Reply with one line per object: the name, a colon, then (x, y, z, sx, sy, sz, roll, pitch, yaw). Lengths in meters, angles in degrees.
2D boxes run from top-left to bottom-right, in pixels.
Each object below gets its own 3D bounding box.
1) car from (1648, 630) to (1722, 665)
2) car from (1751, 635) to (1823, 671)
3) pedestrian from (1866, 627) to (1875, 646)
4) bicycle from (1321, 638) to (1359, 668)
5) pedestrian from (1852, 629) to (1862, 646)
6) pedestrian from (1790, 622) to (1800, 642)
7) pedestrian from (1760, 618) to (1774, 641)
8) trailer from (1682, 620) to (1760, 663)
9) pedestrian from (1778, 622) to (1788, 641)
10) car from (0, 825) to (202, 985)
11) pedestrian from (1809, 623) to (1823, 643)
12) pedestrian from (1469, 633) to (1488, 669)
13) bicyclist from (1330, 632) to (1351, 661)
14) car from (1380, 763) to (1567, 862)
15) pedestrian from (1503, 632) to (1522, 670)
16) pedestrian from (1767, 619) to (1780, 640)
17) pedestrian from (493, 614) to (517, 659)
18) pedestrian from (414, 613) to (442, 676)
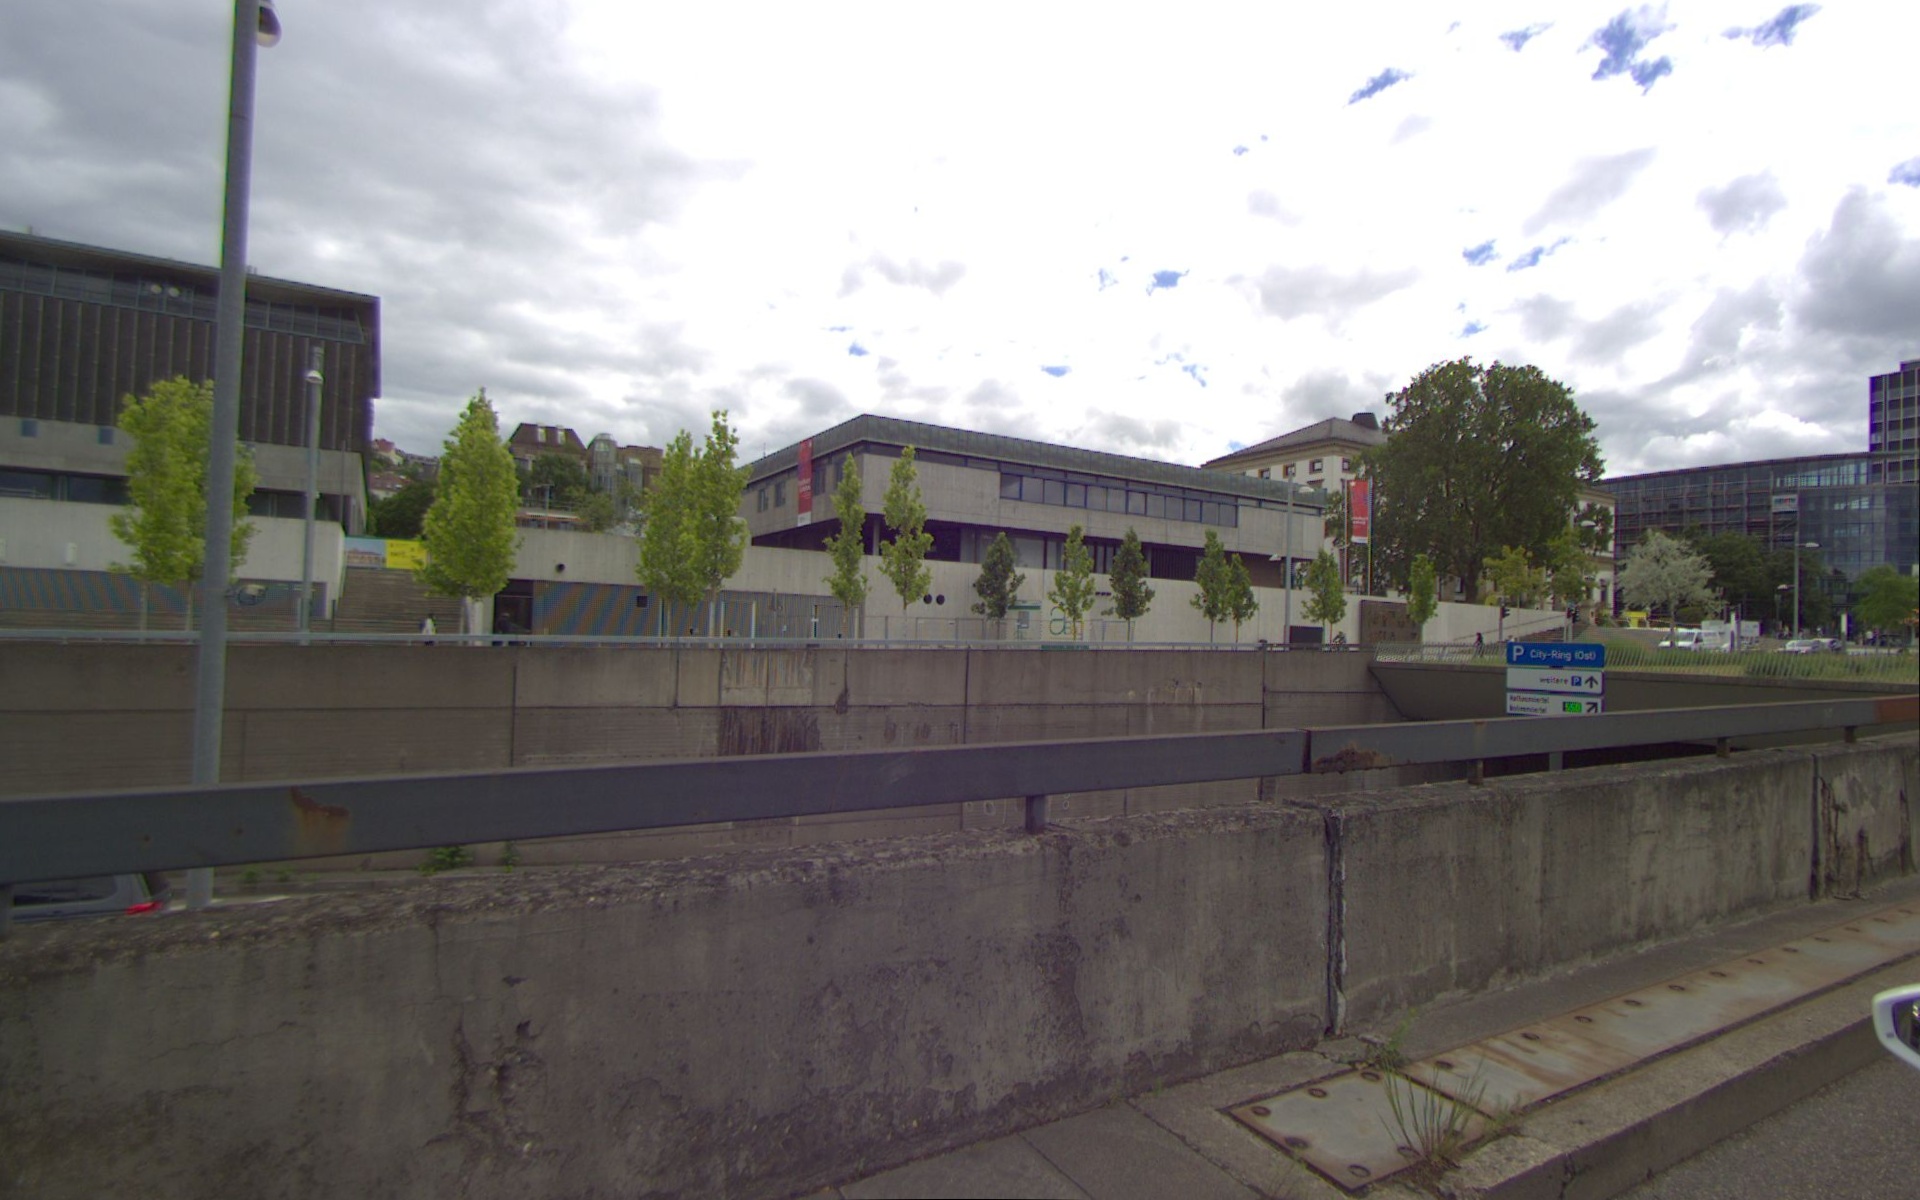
car: (44.651, 2.889, 61.827, 4.635, 2.040, 1.985, 0, 0, -30)
car: (51.417, 3.247, 62.431, 4.635, 2.040, 1.985, 0, 0, -30)
pedestrian: (102.636, 4.120, 113.258, 0.731, 2.040, 0.788, -1, -1, 45)
bicycle: (21.325, 2.966, 56.349, 2.165, 1.556, 0.722, 3, 0, -31)
pedestrian: (103.493, 4.326, 115.871, 0.729, 2.040, 0.790, -1, -1, 38)
pedestrian: (86.652, 3.322, 104.287, 0.729, 2.040, 0.917, -1, -1, 38)
pedestrian: (74.289, 2.719, 92.456, 0.783, 2.040, 0.736, 4, -2, -27)
trailer: (48.935, 2.631, 64.545, 5.443, 2.640, 2.028, 1, 1, -30)
pedestrian: (85.435, 3.257, 104.305, 0.729, 2.040, 0.917, -1, -1, 37)
car: (-13.849, 4.341, 14.425, 4.345, 1.789, 2.153, 6, -5, -30)
pedestrian: (88.988, 3.449, 104.437, 0.728, 2.040, 0.791, 0, -1, -12)
pedestrian: (30.129, 2.946, 58.344, 0.777, 2.040, 0.741, 0, 0, 9)
bicyclist: (21.365, 2.612, 56.357, 0.767, 1.574, 0.727, 3, 0, -31)
car: (16.763, 6.781, 32.709, 5.865, 2.341, 2.607, 3, 0, -30)
pedestrian: (29.710, 2.746, 54.024, 0.846, 2.040, 0.628, -1, -1, 26)
pedestrian: (78.257, 2.828, 96.657, 0.783, 2.040, 0.735, 0, -1, -29)
pedestrian: (-17.076, 1.362, 37.677, 0.783, 1.664, 0.736, 0, -1, -27)
pedestrian: (-17.626, 1.467, 33.275, 0.782, 2.040, 0.736, 0, -1, -26)
